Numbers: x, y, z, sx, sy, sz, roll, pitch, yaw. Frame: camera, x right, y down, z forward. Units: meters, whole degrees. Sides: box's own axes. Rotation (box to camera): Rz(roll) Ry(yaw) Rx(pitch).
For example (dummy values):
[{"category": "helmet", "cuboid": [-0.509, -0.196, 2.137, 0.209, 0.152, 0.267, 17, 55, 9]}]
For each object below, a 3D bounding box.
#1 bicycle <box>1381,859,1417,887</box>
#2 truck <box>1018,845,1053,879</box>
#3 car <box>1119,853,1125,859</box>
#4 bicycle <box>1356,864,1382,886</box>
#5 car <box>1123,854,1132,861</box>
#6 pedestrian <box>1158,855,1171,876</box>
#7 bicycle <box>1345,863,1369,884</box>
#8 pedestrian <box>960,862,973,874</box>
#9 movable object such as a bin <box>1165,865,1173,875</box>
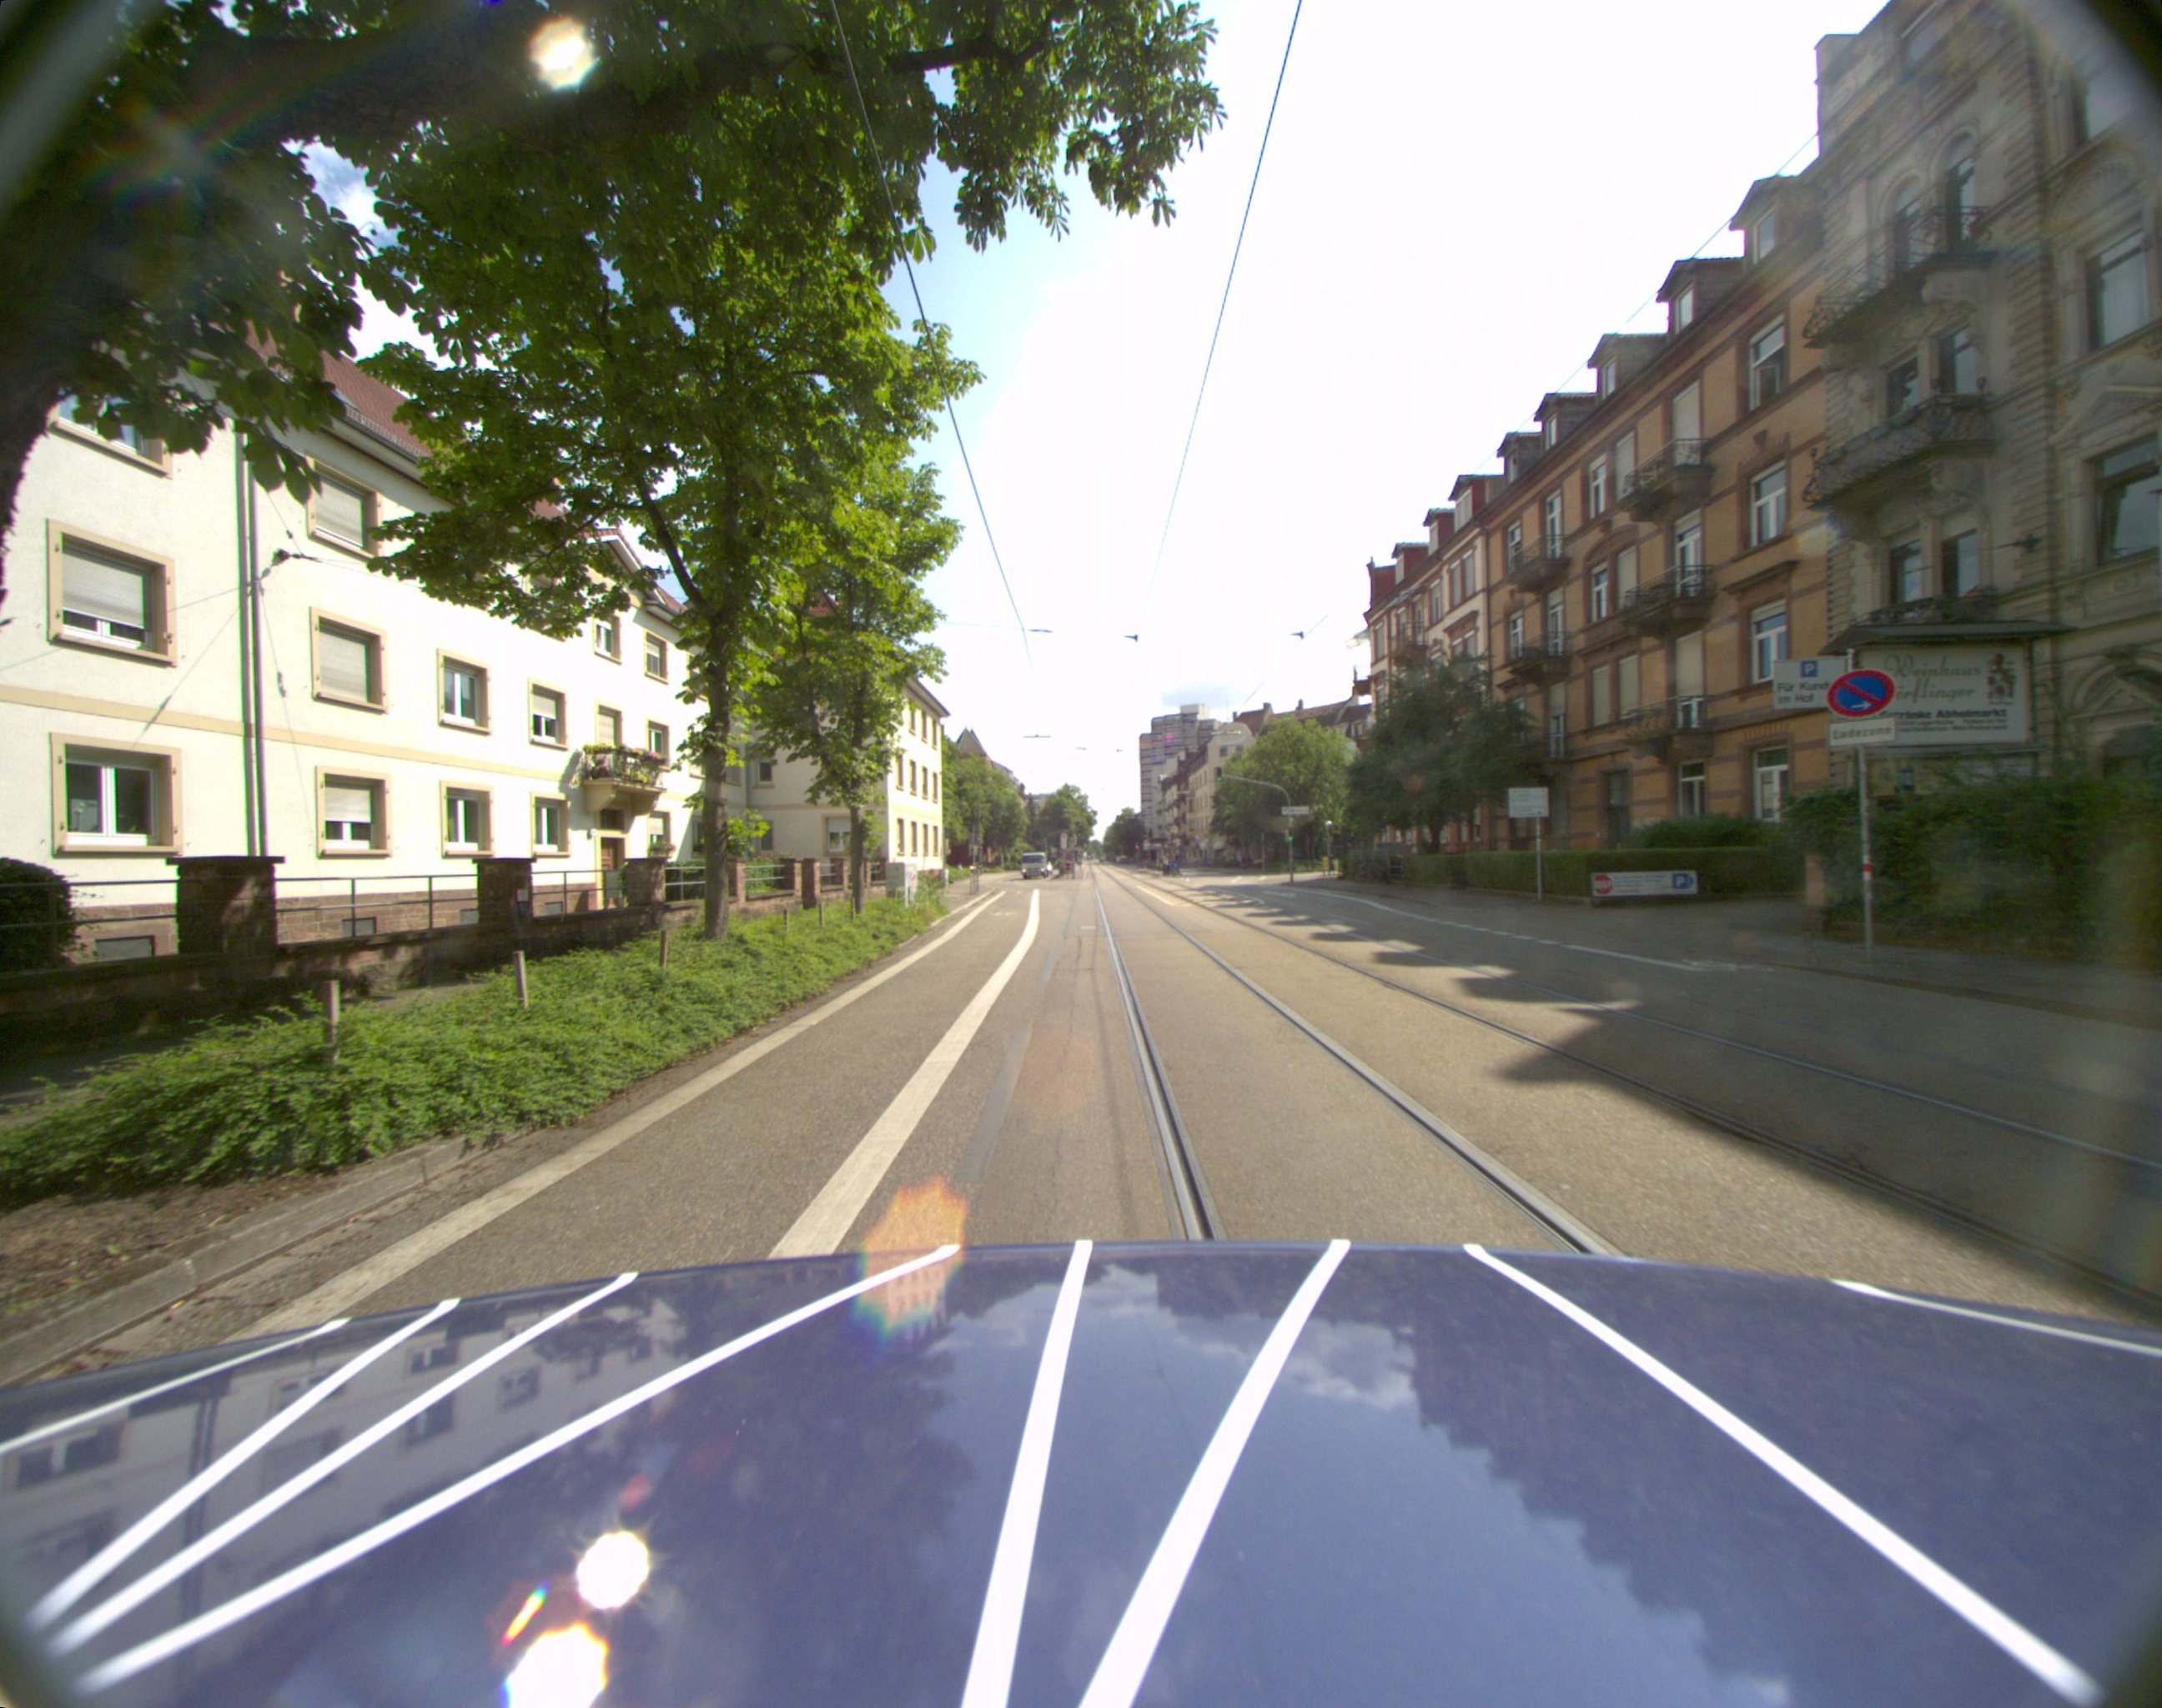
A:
[{"category": "bicycle", "cuboid": [13.420, 0.797, 32.107, 1.308, 1.124, 0.497, -1, 0, -1]}, {"category": "truck", "cuboid": [-3.926, 0.678, 66.802, 2.531, 2.721, 6.515, -1, 0, 1]}, {"category": "car", "cuboid": [12.496, 0.608, 232.273, 1.841, 1.482, 3.892, -1, 0, 0]}, {"category": "bicycle", "cuboid": [12.933, 0.910, 34.138, 0.560, 0.927, 1.826, -1, 0, 4]}, {"category": "car", "cuboid": [10.804, 0.823, 176.342, 1.841, 1.482, 3.892, -1, 0, 0]}, {"category": "pedestrian", "cuboid": [6.409, 0.869, 58.351, 0.783, 1.565, 0.692, -1, 0, -13]}, {"category": "bicycle", "cuboid": [13.042, 0.906, 35.998, 0.560, 0.927, 1.826, -1, 0, 4]}, {"category": "pedestrian", "cuboid": [-11.148, 1.359, 73.941, 1.160, 1.195, 0.906, 2, 0, -7]}, {"category": "movable object such as a bin", "cuboid": [6.852, 1.256, 59.057, 0.513, 0.713, 0.457, -1, 0, -13]}]
